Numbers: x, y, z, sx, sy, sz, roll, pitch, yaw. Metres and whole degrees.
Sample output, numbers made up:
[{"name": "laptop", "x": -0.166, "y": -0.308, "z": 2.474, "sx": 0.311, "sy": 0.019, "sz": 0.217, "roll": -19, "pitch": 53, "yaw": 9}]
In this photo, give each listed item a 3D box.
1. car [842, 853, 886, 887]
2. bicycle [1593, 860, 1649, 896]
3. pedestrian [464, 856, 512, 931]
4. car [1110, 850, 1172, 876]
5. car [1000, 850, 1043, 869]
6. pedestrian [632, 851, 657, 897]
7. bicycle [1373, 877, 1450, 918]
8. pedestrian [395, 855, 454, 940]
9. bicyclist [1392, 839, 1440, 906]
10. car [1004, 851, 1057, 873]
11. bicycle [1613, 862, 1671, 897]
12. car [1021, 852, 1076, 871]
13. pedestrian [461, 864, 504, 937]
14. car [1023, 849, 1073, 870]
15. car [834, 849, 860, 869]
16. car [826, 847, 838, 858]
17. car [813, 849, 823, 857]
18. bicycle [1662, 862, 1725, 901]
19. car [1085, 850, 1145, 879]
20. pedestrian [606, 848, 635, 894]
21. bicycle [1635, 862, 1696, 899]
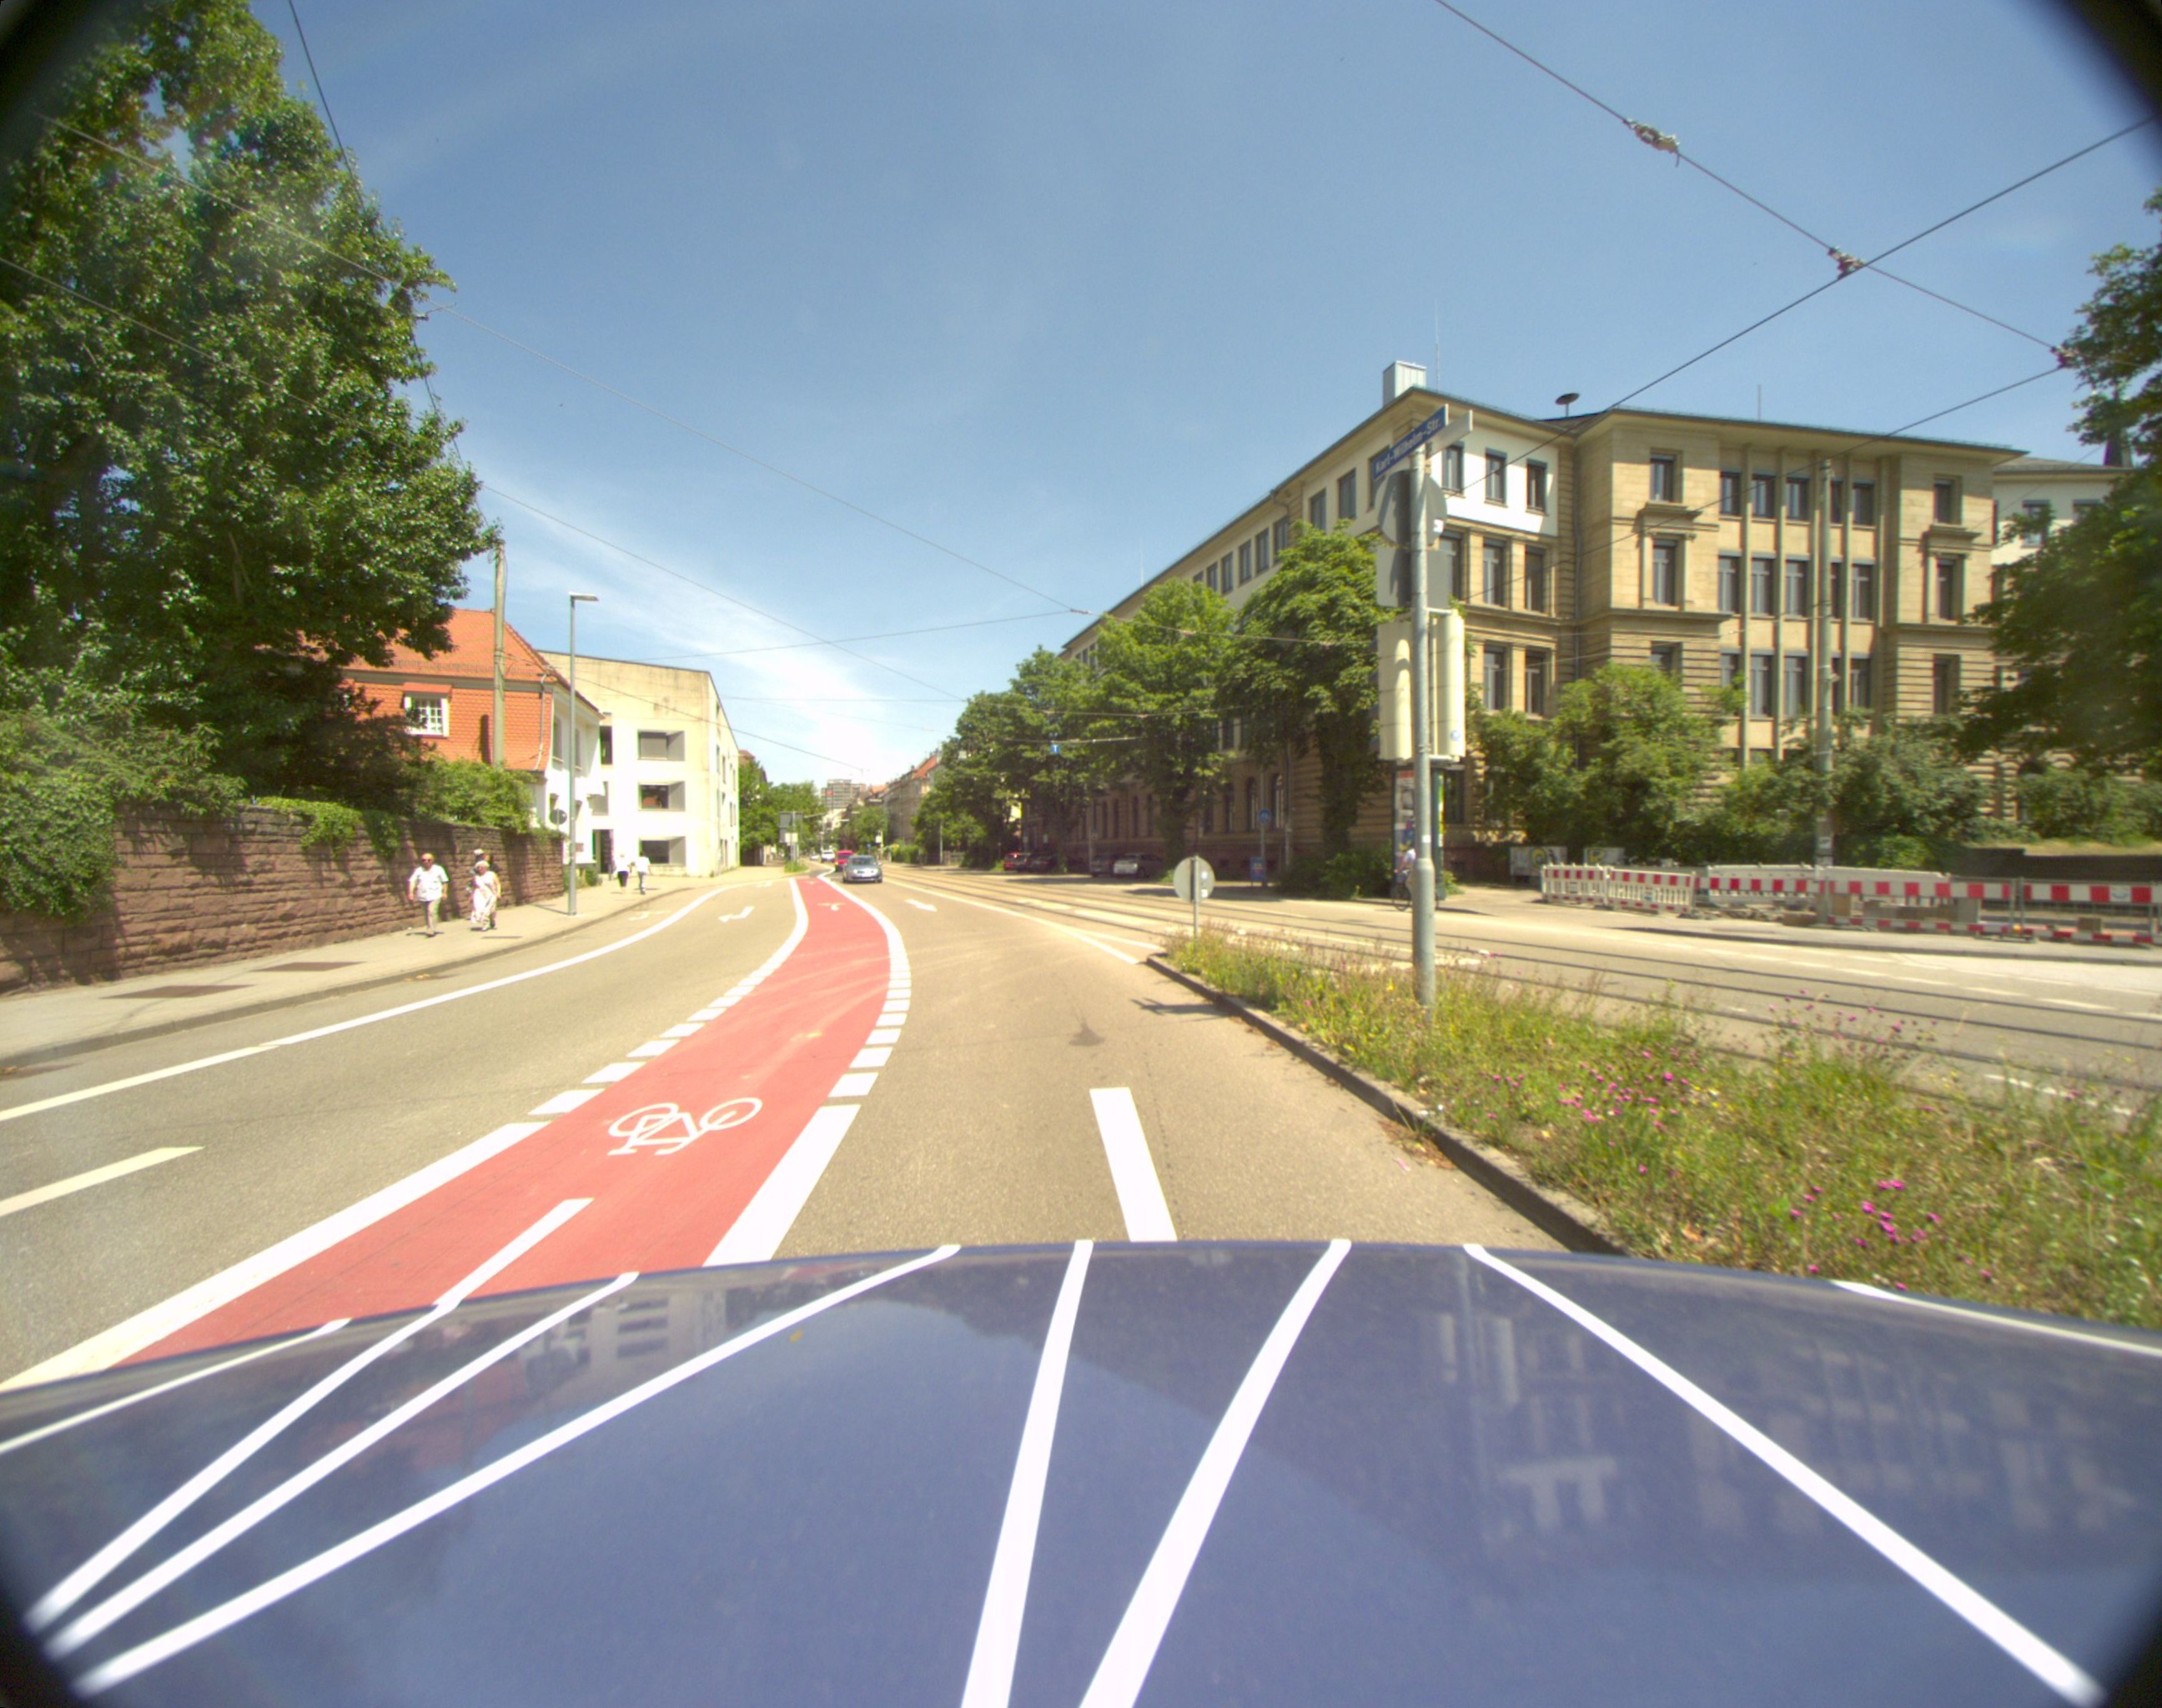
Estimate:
[{"name": "car", "x": -11.521, "y": 0.804, "z": 40.215, "sx": 1.896, "sy": 1.561, "sz": 4.029, "roll": -1, "pitch": 2, "yaw": -21}, {"name": "bicycle", "x": 17.732, "y": 0.776, "z": 24.946, "sx": 1.688, "sy": 1.141, "sz": 0.463, "roll": -1, "pitch": 2, "yaw": -11}, {"name": "pedestrian", "x": -14.351, "y": 0.933, "z": 18.415, "sx": 0.719, "sy": 1.763, "sz": 0.628, "roll": -1, "pitch": 1, "yaw": -20}, {"name": "car", "x": 3.448, "y": 0.489, "z": 43.374, "sx": 1.697, "sy": 1.398, "sz": 3.556, "roll": 0, "pitch": 1, "yaw": 41}, {"name": "car", "x": -4.989, "y": 0.417, "z": 64.477, "sx": 1.664, "sy": 1.507, "sz": 3.359, "roll": 0, "pitch": 2, "yaw": 43}, {"name": "pedestrian", "x": -17.364, "y": 0.778, "z": 30.253, "sx": 0.680, "sy": 1.797, "sz": 0.747, "roll": 0, "pitch": 1, "yaw": -17}, {"name": "bicycle", "x": 8.611, "y": 1.108, "z": 19.922, "sx": 0.505, "sy": 0.909, "sz": 2.367, "roll": -1, "pitch": 0, "yaw": -14}, {"name": "pedestrian", "x": -13.002, "y": 0.847, "z": 15.070, "sx": 0.663, "sy": 1.638, "sz": 0.623, "roll": 0, "pitch": 1, "yaw": -16}, {"name": "bicyclist", "x": 8.671, "y": 0.464, "z": 19.683, "sx": 0.824, "sy": 1.700, "sz": 0.769, "roll": -1, "pitch": 1, "yaw": -15}, {"name": "car", "x": -3.999, "y": 0.578, "z": 60.770, "sx": 1.664, "sy": 1.575, "sz": 4.330, "roll": 0, "pitch": 2, "yaw": 40}, {"name": "bicycle", "x": 17.899, "y": 0.805, "z": 24.243, "sx": 1.739, "sy": 1.096, "sz": 0.503, "roll": -1, "pitch": 1, "yaw": -14}, {"name": "car", "x": -2.331, "y": 0.530, "z": 55.321, "sx": 1.664, "sy": 1.366, "sz": 3.942, "roll": 0, "pitch": 0, "yaw": 44}, {"name": "pedestrian", "x": -12.740, "y": 0.971, "z": 16.192, "sx": 0.517, "sy": 1.524, "sz": 0.597, "roll": 0, "pitch": 1, "yaw": -16}, {"name": "car", "x": -2.535, "y": 0.397, "z": 58.837, "sx": 1.788, "sy": 1.568, "sz": 3.826, "roll": 0, "pitch": 1, "yaw": 40}, {"name": "car", "x": -20.357, "y": 0.413, "z": 66.098, "sx": 1.878, "sy": 1.638, "sz": 3.771, "roll": -1, "pitch": 2, "yaw": -21}, {"name": "car", "x": -38.694, "y": -0.284, "z": 118.041, "sx": 1.622, "sy": 1.700, "sz": 3.423, "roll": -1, "pitch": 2, "yaw": -20}, {"name": "car", "x": -56.839, "y": -0.229, "z": 164.220, "sx": 1.886, "sy": 1.675, "sz": 3.361, "roll": -1, "pitch": 2, "yaw": -19}, {"name": "bicycle", "x": 18.316, "y": 0.809, "z": 22.711, "sx": 1.739, "sy": 1.096, "sz": 0.503, "roll": -1, "pitch": 1, "yaw": -14}, {"name": "car", "x": 2.084, "y": 0.603, "z": 45.864, "sx": 1.664, "sy": 1.511, "sz": 3.684, "roll": 0, "pitch": 2, "yaw": 41}, {"name": "pedestrian", "x": -18.158, "y": 0.657, "z": 29.983, "sx": 0.817, "sy": 1.797, "sz": 0.699, "roll": 0, "pitch": 1, "yaw": -17}, {"name": "bicycle", "x": 18.086, "y": 0.804, "z": 23.513, "sx": 1.739, "sy": 1.096, "sz": 0.503, "roll": -1, "pitch": 1, "yaw": -14}]
